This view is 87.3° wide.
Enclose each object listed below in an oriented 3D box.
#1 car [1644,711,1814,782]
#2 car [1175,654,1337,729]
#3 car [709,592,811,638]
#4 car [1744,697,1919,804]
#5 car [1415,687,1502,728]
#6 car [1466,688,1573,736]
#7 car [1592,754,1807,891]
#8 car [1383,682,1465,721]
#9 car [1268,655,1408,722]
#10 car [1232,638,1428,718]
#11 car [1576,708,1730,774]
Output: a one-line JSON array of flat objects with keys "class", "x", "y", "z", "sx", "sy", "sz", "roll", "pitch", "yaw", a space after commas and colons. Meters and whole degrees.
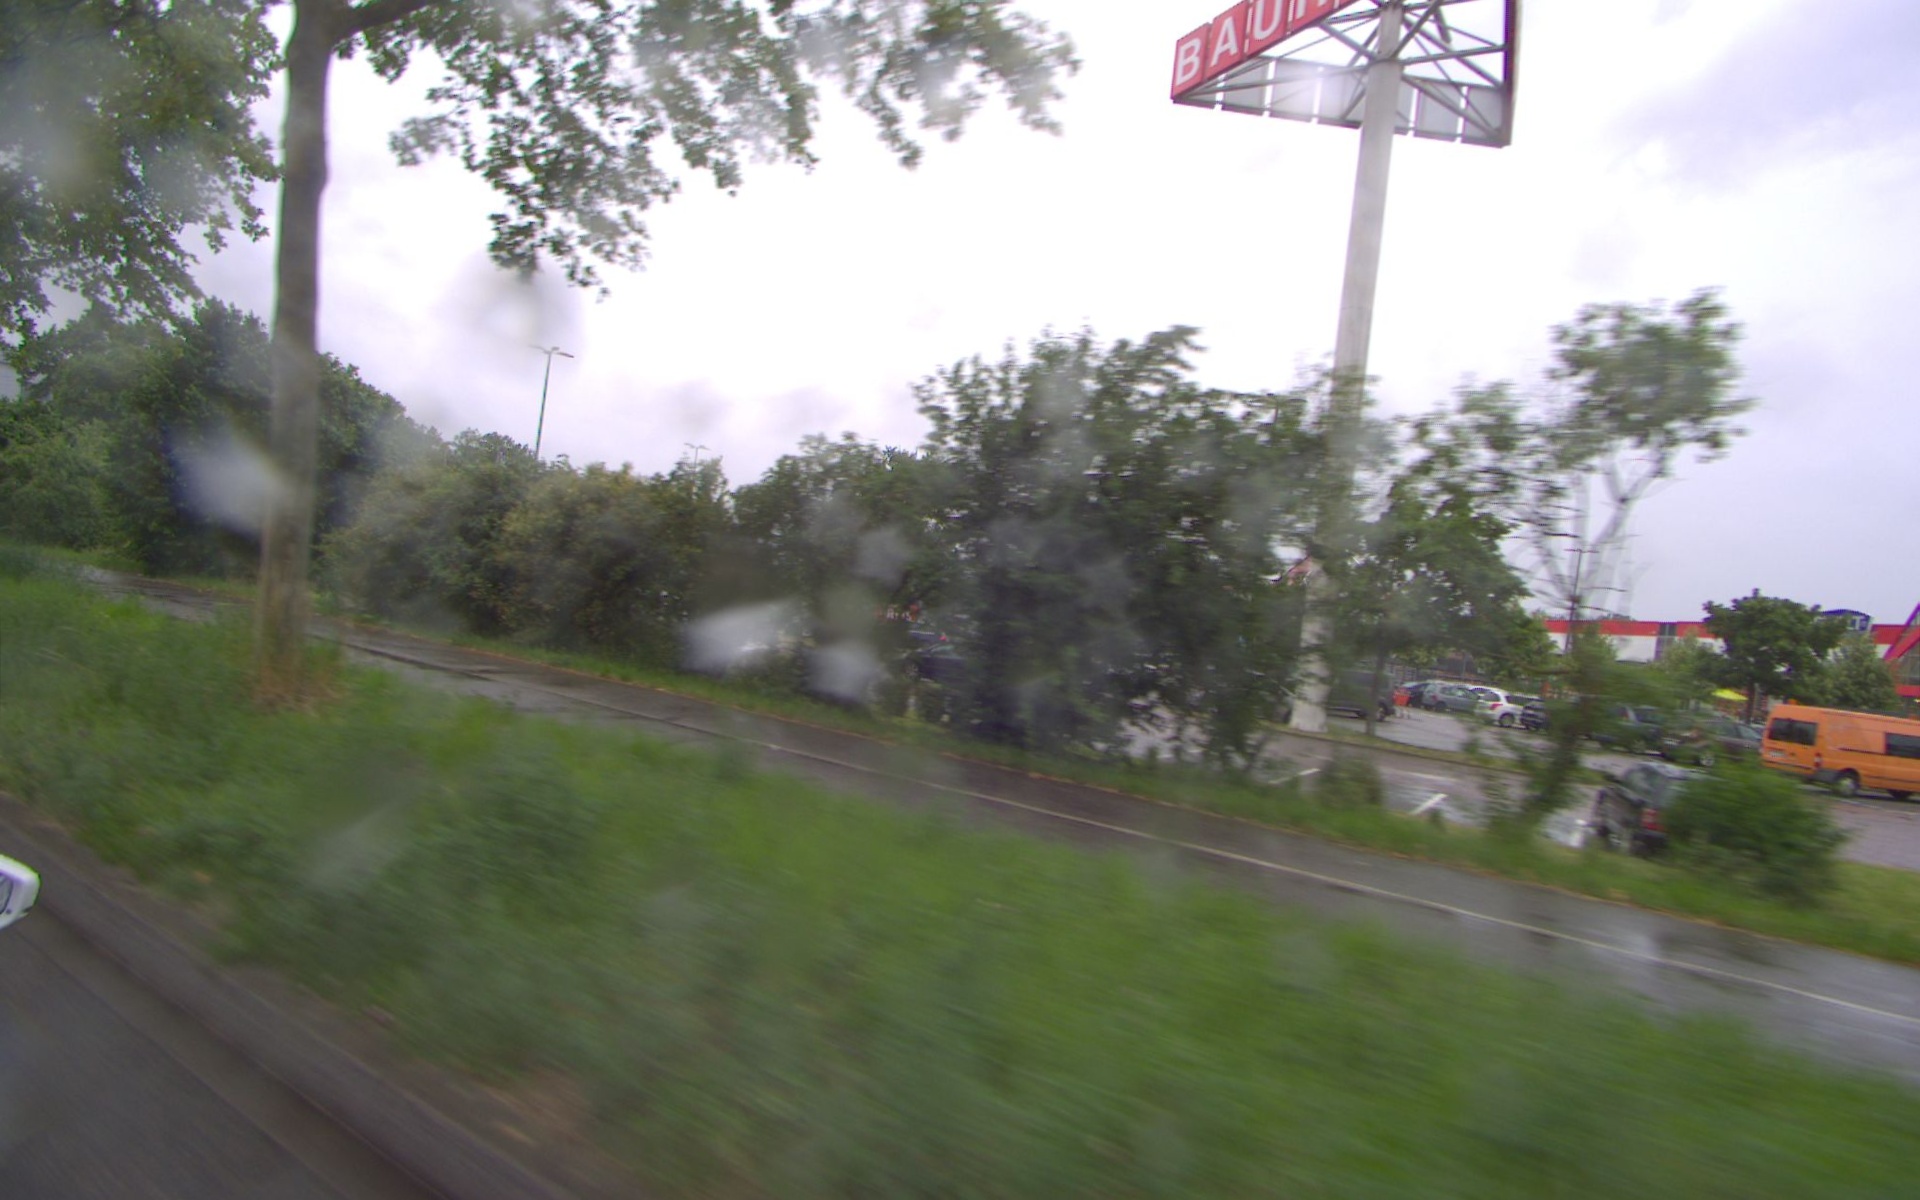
[{"class": "car", "x": 26.070, "y": 4.951, "z": 34.185, "sx": 4.261, "sy": 1.654, "sz": 1.939, "roll": 8, "pitch": -1, "yaw": -4}, {"class": "car", "x": 9.129, "y": 2.816, "z": 31.235, "sx": 4.263, "sy": 1.654, "sz": 1.938, "roll": 8, "pitch": -1, "yaw": -6}, {"class": "car", "x": -8.806, "y": 0.667, "z": 44.506, "sx": 3.999, "sy": 1.496, "sz": 1.786, "roll": 7, "pitch": -1, "yaw": 0}, {"class": "car", "x": 26.127, "y": 4.402, "z": 28.787, "sx": 5.579, "sy": 2.395, "sz": 2.278, "roll": 7, "pitch": 0, "yaw": -5}, {"class": "car", "x": 25.768, "y": 5.545, "z": 52.083, "sx": 3.447, "sy": 1.545, "sz": 1.803, "roll": 8, "pitch": -1, "yaw": 4}, {"class": "car", "x": 25.055, "y": 4.987, "z": 45.145, "sx": 3.639, "sy": 1.536, "sz": 1.818, "roll": 7, "pitch": -1, "yaw": 3}, {"class": "car", "x": 10.790, "y": 3.167, "z": 14.981, "sx": 1.723, "sy": 1.212, "sz": 3.845, "roll": 7, "pitch": -1, "yaw": 25}, {"class": "car", "x": 25.089, "y": 5.491, "z": 54.507, "sx": 3.447, "sy": 1.545, "sz": 1.803, "roll": 8, "pitch": -1, "yaw": 4}, {"class": "car", "x": 14.873, "y": 3.467, "z": 39.807, "sx": 4.663, "sy": 1.920, "sz": 2.002, "roll": 8, "pitch": -1, "yaw": 6}, {"class": "car", "x": 16.121, "y": 3.386, "z": 44.179, "sx": 7.432, "sy": 2.384, "sz": 2.589, "roll": 8, "pitch": -1, "yaw": 2}, {"class": "car", "x": 25.382, "y": 5.138, "z": 36.935, "sx": 4.261, "sy": 1.654, "sz": 1.939, "roll": 8, "pitch": -1, "yaw": -4}]
